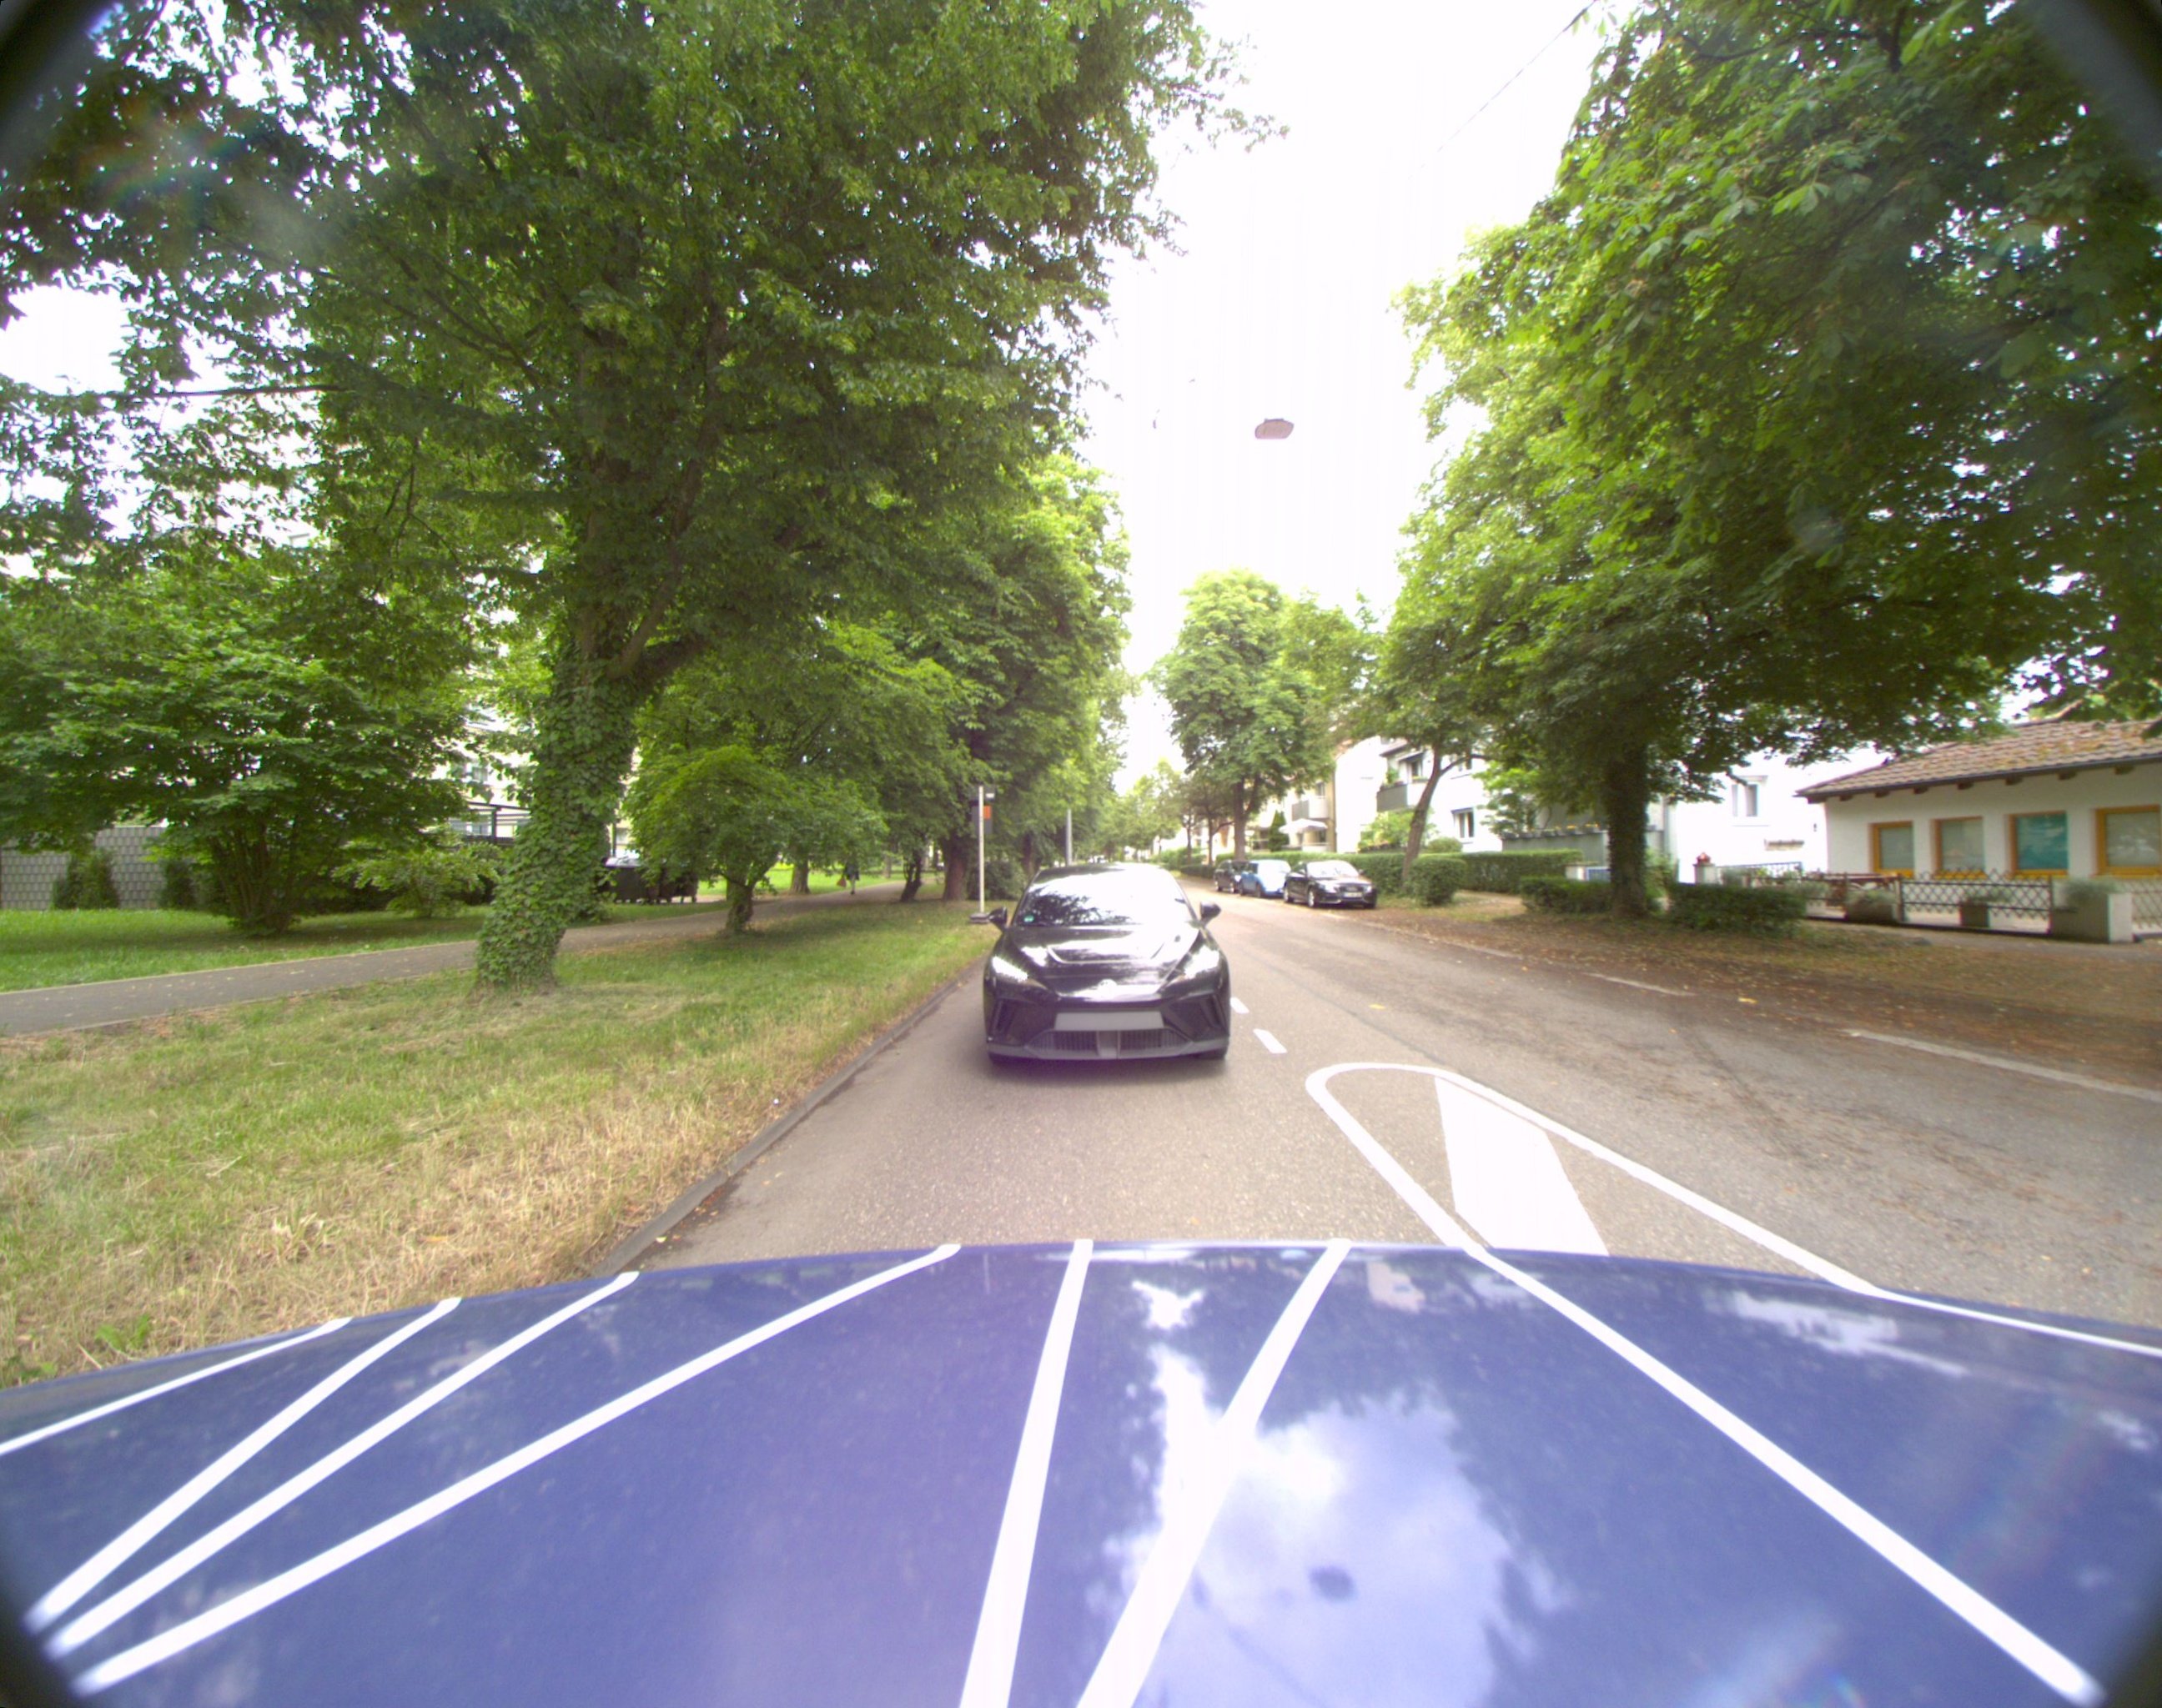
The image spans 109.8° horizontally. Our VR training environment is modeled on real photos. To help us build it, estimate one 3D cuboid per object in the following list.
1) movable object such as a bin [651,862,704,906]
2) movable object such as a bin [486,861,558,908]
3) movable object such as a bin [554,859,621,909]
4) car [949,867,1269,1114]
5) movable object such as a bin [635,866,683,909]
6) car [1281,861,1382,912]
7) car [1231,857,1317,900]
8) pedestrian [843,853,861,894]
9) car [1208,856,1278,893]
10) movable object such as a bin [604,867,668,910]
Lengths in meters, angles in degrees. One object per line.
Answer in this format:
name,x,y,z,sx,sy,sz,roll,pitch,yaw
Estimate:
movable object such as a bin,-13.244,0.976,24.977,1.194,1.405,1.110,0,0,-8
movable object such as a bin,-16.514,0.885,22.490,1.194,1.334,1.348,0,0,-8
movable object such as a bin,-14.573,0.861,22.493,1.194,1.448,1.348,0,0,-8
car,0.197,0.894,7.067,1.998,1.491,4.615,0,0,1
movable object such as a bin,-13.241,1.036,23.884,1.026,1.296,0.960,0,0,-8
car,7.405,0.907,22.884,1.735,1.394,4.172,0,0,1
car,7.206,0.871,28.905,1.889,1.492,4.565,0,0,-3
pedestrian,-9.597,0.808,31.821,0.565,1.730,0.570,1,0,0
car,7.075,0.873,33.659,1.889,1.524,4.565,0,0,-3
movable object such as a bin,-13.256,1.018,22.685,1.194,1.213,1.348,0,0,-8
